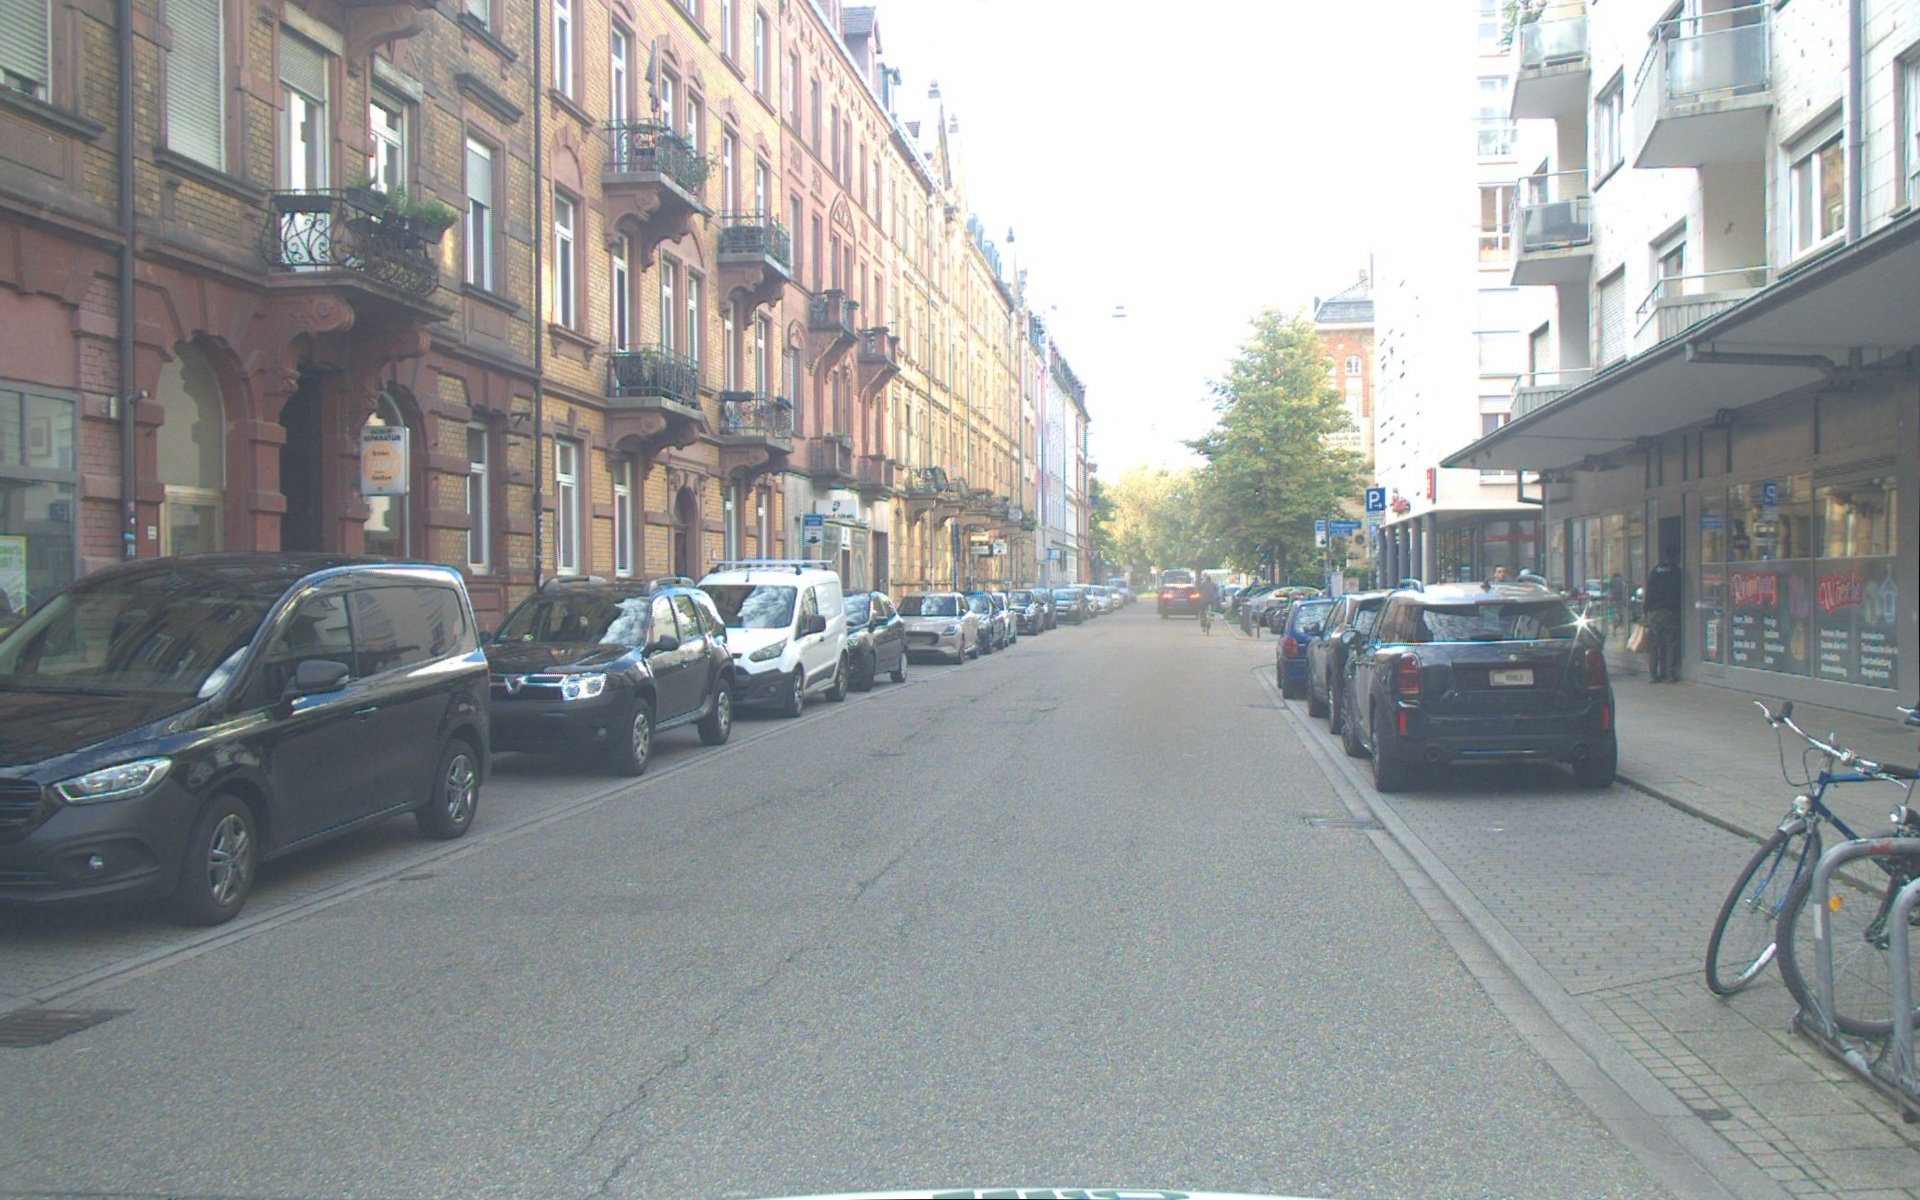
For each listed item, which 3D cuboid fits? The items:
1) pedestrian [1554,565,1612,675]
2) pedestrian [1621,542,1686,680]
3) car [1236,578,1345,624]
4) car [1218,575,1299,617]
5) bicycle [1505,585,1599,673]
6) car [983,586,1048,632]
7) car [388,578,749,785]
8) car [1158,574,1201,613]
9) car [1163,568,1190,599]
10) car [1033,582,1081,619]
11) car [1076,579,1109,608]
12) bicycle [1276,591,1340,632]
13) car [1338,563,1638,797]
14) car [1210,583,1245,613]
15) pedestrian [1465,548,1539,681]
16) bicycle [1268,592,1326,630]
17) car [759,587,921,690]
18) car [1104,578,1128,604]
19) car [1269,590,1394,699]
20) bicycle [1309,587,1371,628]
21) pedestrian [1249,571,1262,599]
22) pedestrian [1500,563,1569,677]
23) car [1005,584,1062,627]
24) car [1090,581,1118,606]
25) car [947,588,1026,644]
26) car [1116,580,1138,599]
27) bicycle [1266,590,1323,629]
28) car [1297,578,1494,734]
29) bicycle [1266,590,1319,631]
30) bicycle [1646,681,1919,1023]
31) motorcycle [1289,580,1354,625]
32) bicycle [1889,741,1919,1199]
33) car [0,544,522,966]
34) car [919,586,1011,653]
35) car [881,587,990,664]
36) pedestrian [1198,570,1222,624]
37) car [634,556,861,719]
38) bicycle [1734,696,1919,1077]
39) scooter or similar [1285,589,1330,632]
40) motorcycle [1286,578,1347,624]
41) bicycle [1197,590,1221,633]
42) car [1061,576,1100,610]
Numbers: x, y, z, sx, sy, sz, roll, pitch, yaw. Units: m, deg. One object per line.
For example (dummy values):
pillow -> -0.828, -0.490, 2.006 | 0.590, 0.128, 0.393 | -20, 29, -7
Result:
pedestrian -> 9.449, 0.294, 25.100 | 0.630, 1.616, 0.781 | -2, 0, 10
pedestrian -> 9.713, 0.144, 23.151 | 0.696, 1.893, 0.642 | 0, 0, 37
car -> 12.420, 0.045, 62.262 | 3.685, 1.573, 1.730 | -2, -1, -2
car -> 14.953, -0.203, 82.815 | 3.902, 1.712, 1.740 | -3, 8, 12
bicycle -> 9.465, 0.430, 26.543 | 0.899, 1.313, 2.501 | -2, 0, 8
car -> 1.835, 0.265, 53.910 | 1.654, 1.411, 3.871 | 1, 1, 8
car -> -3.462, 0.638, 15.508 | 1.951, 1.666, 4.149 | 0, 1, 7
car -> 10.325, -0.284, 77.731 | 1.923, 1.771, 4.044 | 0, -1, 8
car -> 14.449, -1.120, 110.607 | 1.744, 2.055, 3.891 | 1, 1, 7
car -> 4.134, -0.002, 70.089 | 1.654, 1.393, 3.871 | 3, 1, 8
car -> 7.584, -0.378, 94.165 | 1.654, 1.577, 3.870 | 1, 0, 7
bicycle -> 10.153, 0.333, 48.285 | 1.729, 1.075, 0.411 | -3, 0, 3
car -> 4.294, 0.561, 14.031 | 1.754, 1.633, 3.927 | -3, 0, 9
car -> 15.411, -0.119, 95.461 | 1.889, 1.666, 4.004 | 1, 1, 8
pedestrian -> 7.460, 0.182, 22.796 | 0.599, 1.756, 1.127 | -3, 1, 3
bicycle -> 10.621, 0.338, 52.160 | 1.728, 1.118, 0.412 | -3, 0, 11
car -> -1.851, 0.559, 26.754 | 1.704, 1.509, 3.987 | 1, 0, 10
car -> 11.896, -0.688, 125.717 | 1.654, 1.853, 3.870 | 1, 0, 7
car -> 5.527, 0.611, 24.966 | 1.561, 1.464, 4.034 | -1, 1, 9
bicycle -> 11.498, 0.226, 50.076 | 1.729, 1.166, 0.411 | -3, 0, 2
pedestrian -> 24.555, -1.257, 137.352 | 0.974, 2.269, 0.899 | 1, 1, 9
pedestrian -> 8.346, 0.290, 24.042 | 0.806, 1.616, 0.781 | -1, 0, 10
car -> 2.699, 0.171, 59.931 | 1.654, 1.462, 3.871 | 1, 1, 8
car -> 9.561, -0.432, 109.379 | 1.654, 1.577, 3.870 | 1, 0, 7
car -> 0.776, 0.402, 45.306 | 1.654, 1.411, 3.871 | 1, 1, 8
car -> 14.198, -0.918, 140.497 | 1.654, 1.577, 3.870 | 1, 0, 7
bicycle -> 10.886, 0.312, 53.819 | 1.756, 1.179, 0.500 | -3, 0, 11
car -> 4.944, 0.581, 19.245 | 1.652, 1.604, 3.905 | -1, 0, 7
bicycle -> 9.993, 0.316, 49.693 | 1.464, 1.166, 0.411 | -3, 0, 3
bicycle -> 3.510, 0.867, 6.022 | 1.752, 1.089, 0.586 | -3, 1, -2
motorcycle -> 12.437, 0.081, 56.924 | 2.104, 1.459, 0.766 | -3, 0, 13
bicycle -> 2.985, 0.848, 3.174 | 1.843, 1.145, 0.908 | -3, 0, 6
car -> -4.199, 0.628, 9.404 | 1.722, 1.804, 4.409 | 2, 1, 7
car -> 0.175, 0.428, 40.718 | 1.704, 1.509, 3.987 | 1, 1, 8
car -> -0.471, 0.506, 35.801 | 1.704, 1.509, 3.987 | 1, 1, 8
pedestrian -> 7.869, -0.106, 52.061 | 0.703, 1.679, 0.931 | 1, 1, 9
car -> -2.643, 0.414, 21.652 | 1.879, 1.904, 4.441 | 0, 1, 7
bicycle -> 3.523, 0.863, 5.346 | 1.752, 1.089, 0.569 | -3, 1, -2
scooter or similar -> 10.006, 0.306, 47.673 | 1.187, 1.167, 0.377 | -3, 1, 40
motorcycle -> 12.909, 0.041, 59.925 | 2.104, 1.557, 0.687 | -3, 0, 13
bicycle -> 7.817, 0.358, 51.822 | 0.703, 1.296, 1.886 | 1, 1, 9
car -> 6.008, -0.350, 82.288 | 1.654, 1.577, 3.871 | 1, 1, 8
